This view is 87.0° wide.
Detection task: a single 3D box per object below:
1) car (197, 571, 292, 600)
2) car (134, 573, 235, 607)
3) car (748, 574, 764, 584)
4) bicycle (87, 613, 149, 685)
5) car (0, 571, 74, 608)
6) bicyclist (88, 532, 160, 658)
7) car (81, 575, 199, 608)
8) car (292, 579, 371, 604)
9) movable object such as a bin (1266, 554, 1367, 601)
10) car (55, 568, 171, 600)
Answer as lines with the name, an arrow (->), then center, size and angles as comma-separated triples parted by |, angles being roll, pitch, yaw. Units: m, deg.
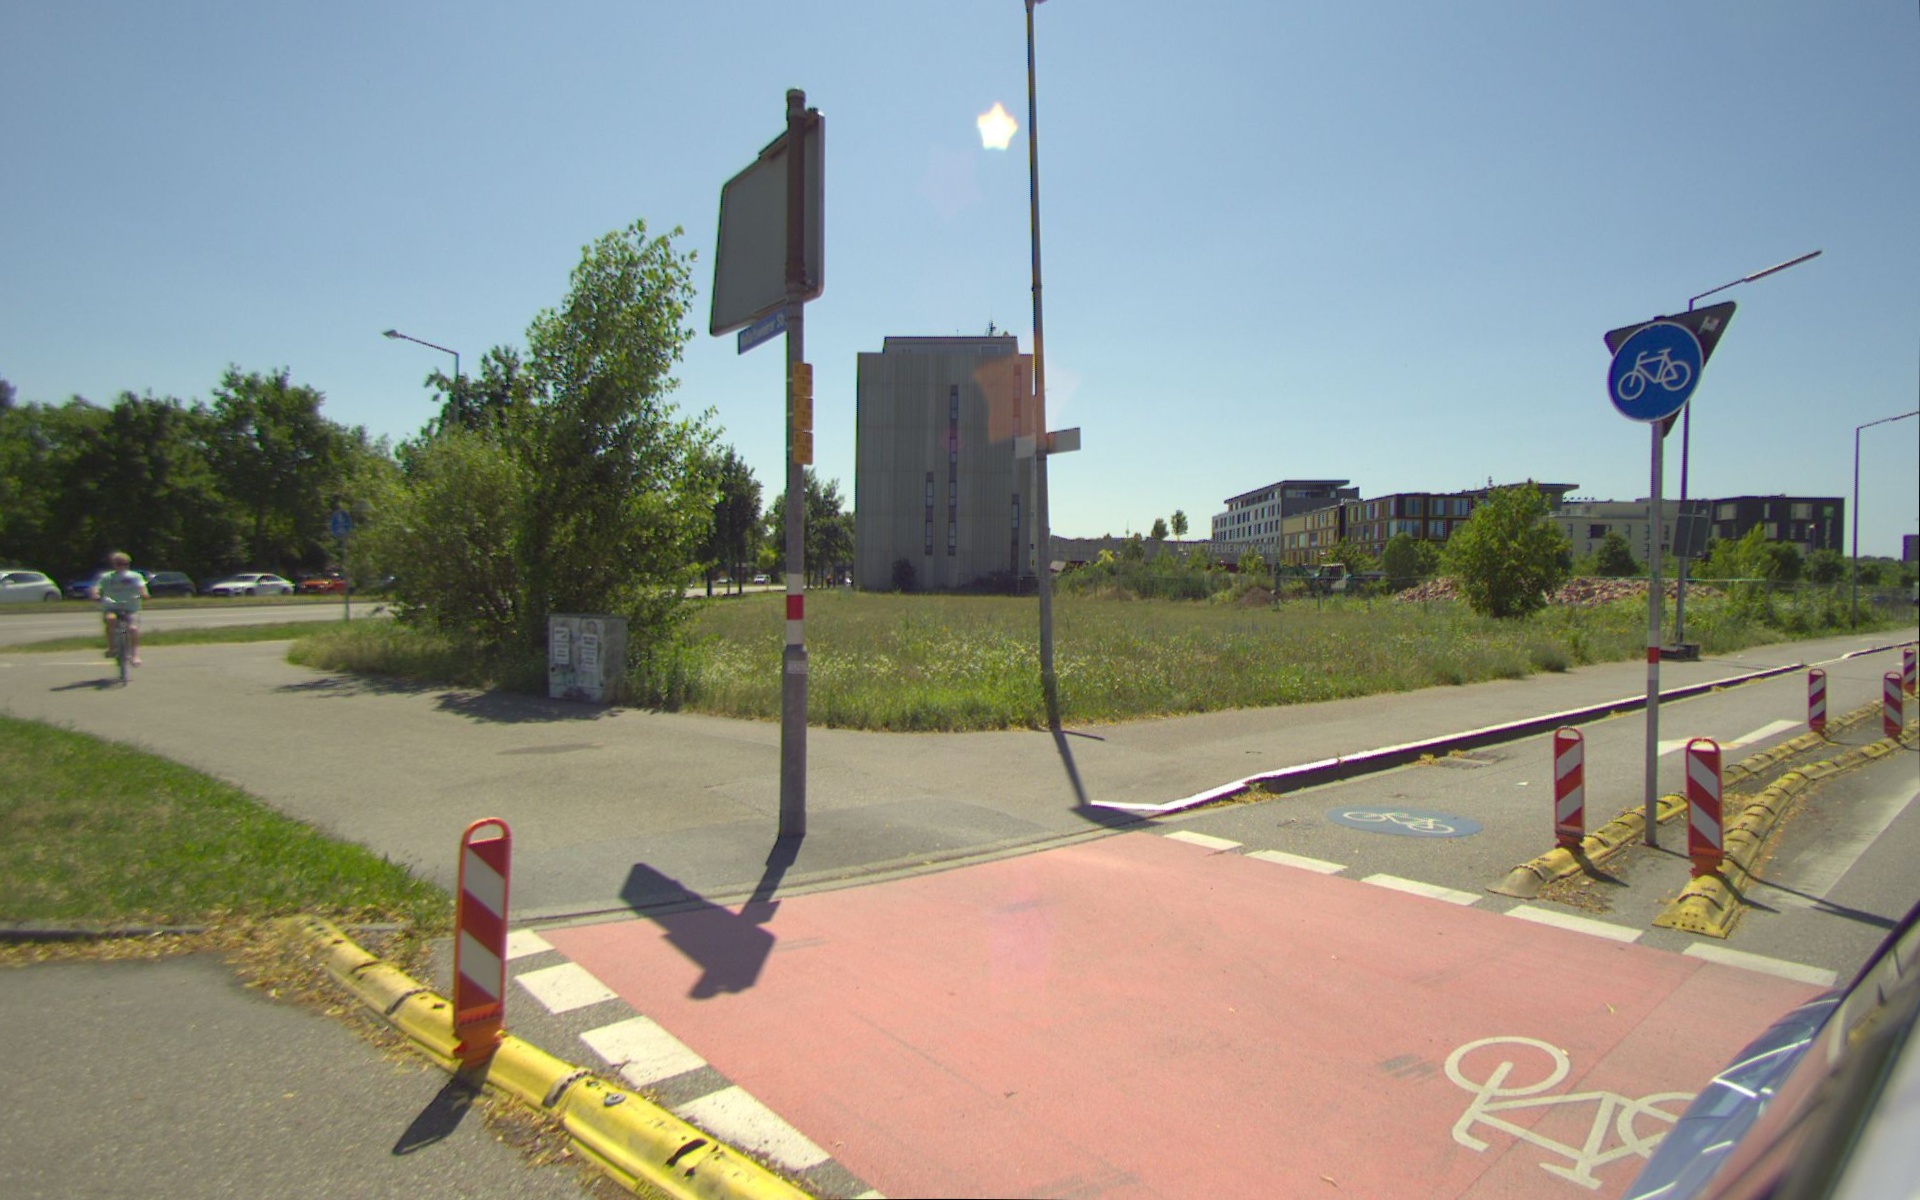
car -> -37.729, -0.775, 53.489 | 1.830, 1.440, 4.406 | 1, 1, 2
car -> -40.740, -0.524, 53.296 | 1.830, 1.704, 4.406 | 1, 1, 2
car -> -34.496, -3.556, 171.346 | 1.834, 1.574, 4.000 | 1, 1, 0
bicycle -> -11.587, 0.642, 13.956 | 0.617, 0.890, 1.874 | 0, 1, -39
car -> -37.977, -0.425, 40.085 | 1.830, 1.440, 4.406 | 1, 1, 2
bicyclist -> -11.589, -0.078, 14.053 | 0.735, 1.660, 1.162 | 0, 1, -39
car -> -37.772, -0.398, 46.765 | 1.830, 1.440, 4.406 | 1, 1, 2
car -> -37.016, -0.511, 59.696 | 1.830, 1.440, 4.406 | 1, 1, 2
movable object such as a bin -> 25.369, -1.557, 71.975 | 7.458, 3.189, 2.815 | -1, 0, -33
car -> -40.840, -0.773, 48.929 | 1.830, 1.440, 4.406 | 1, 1, 2
